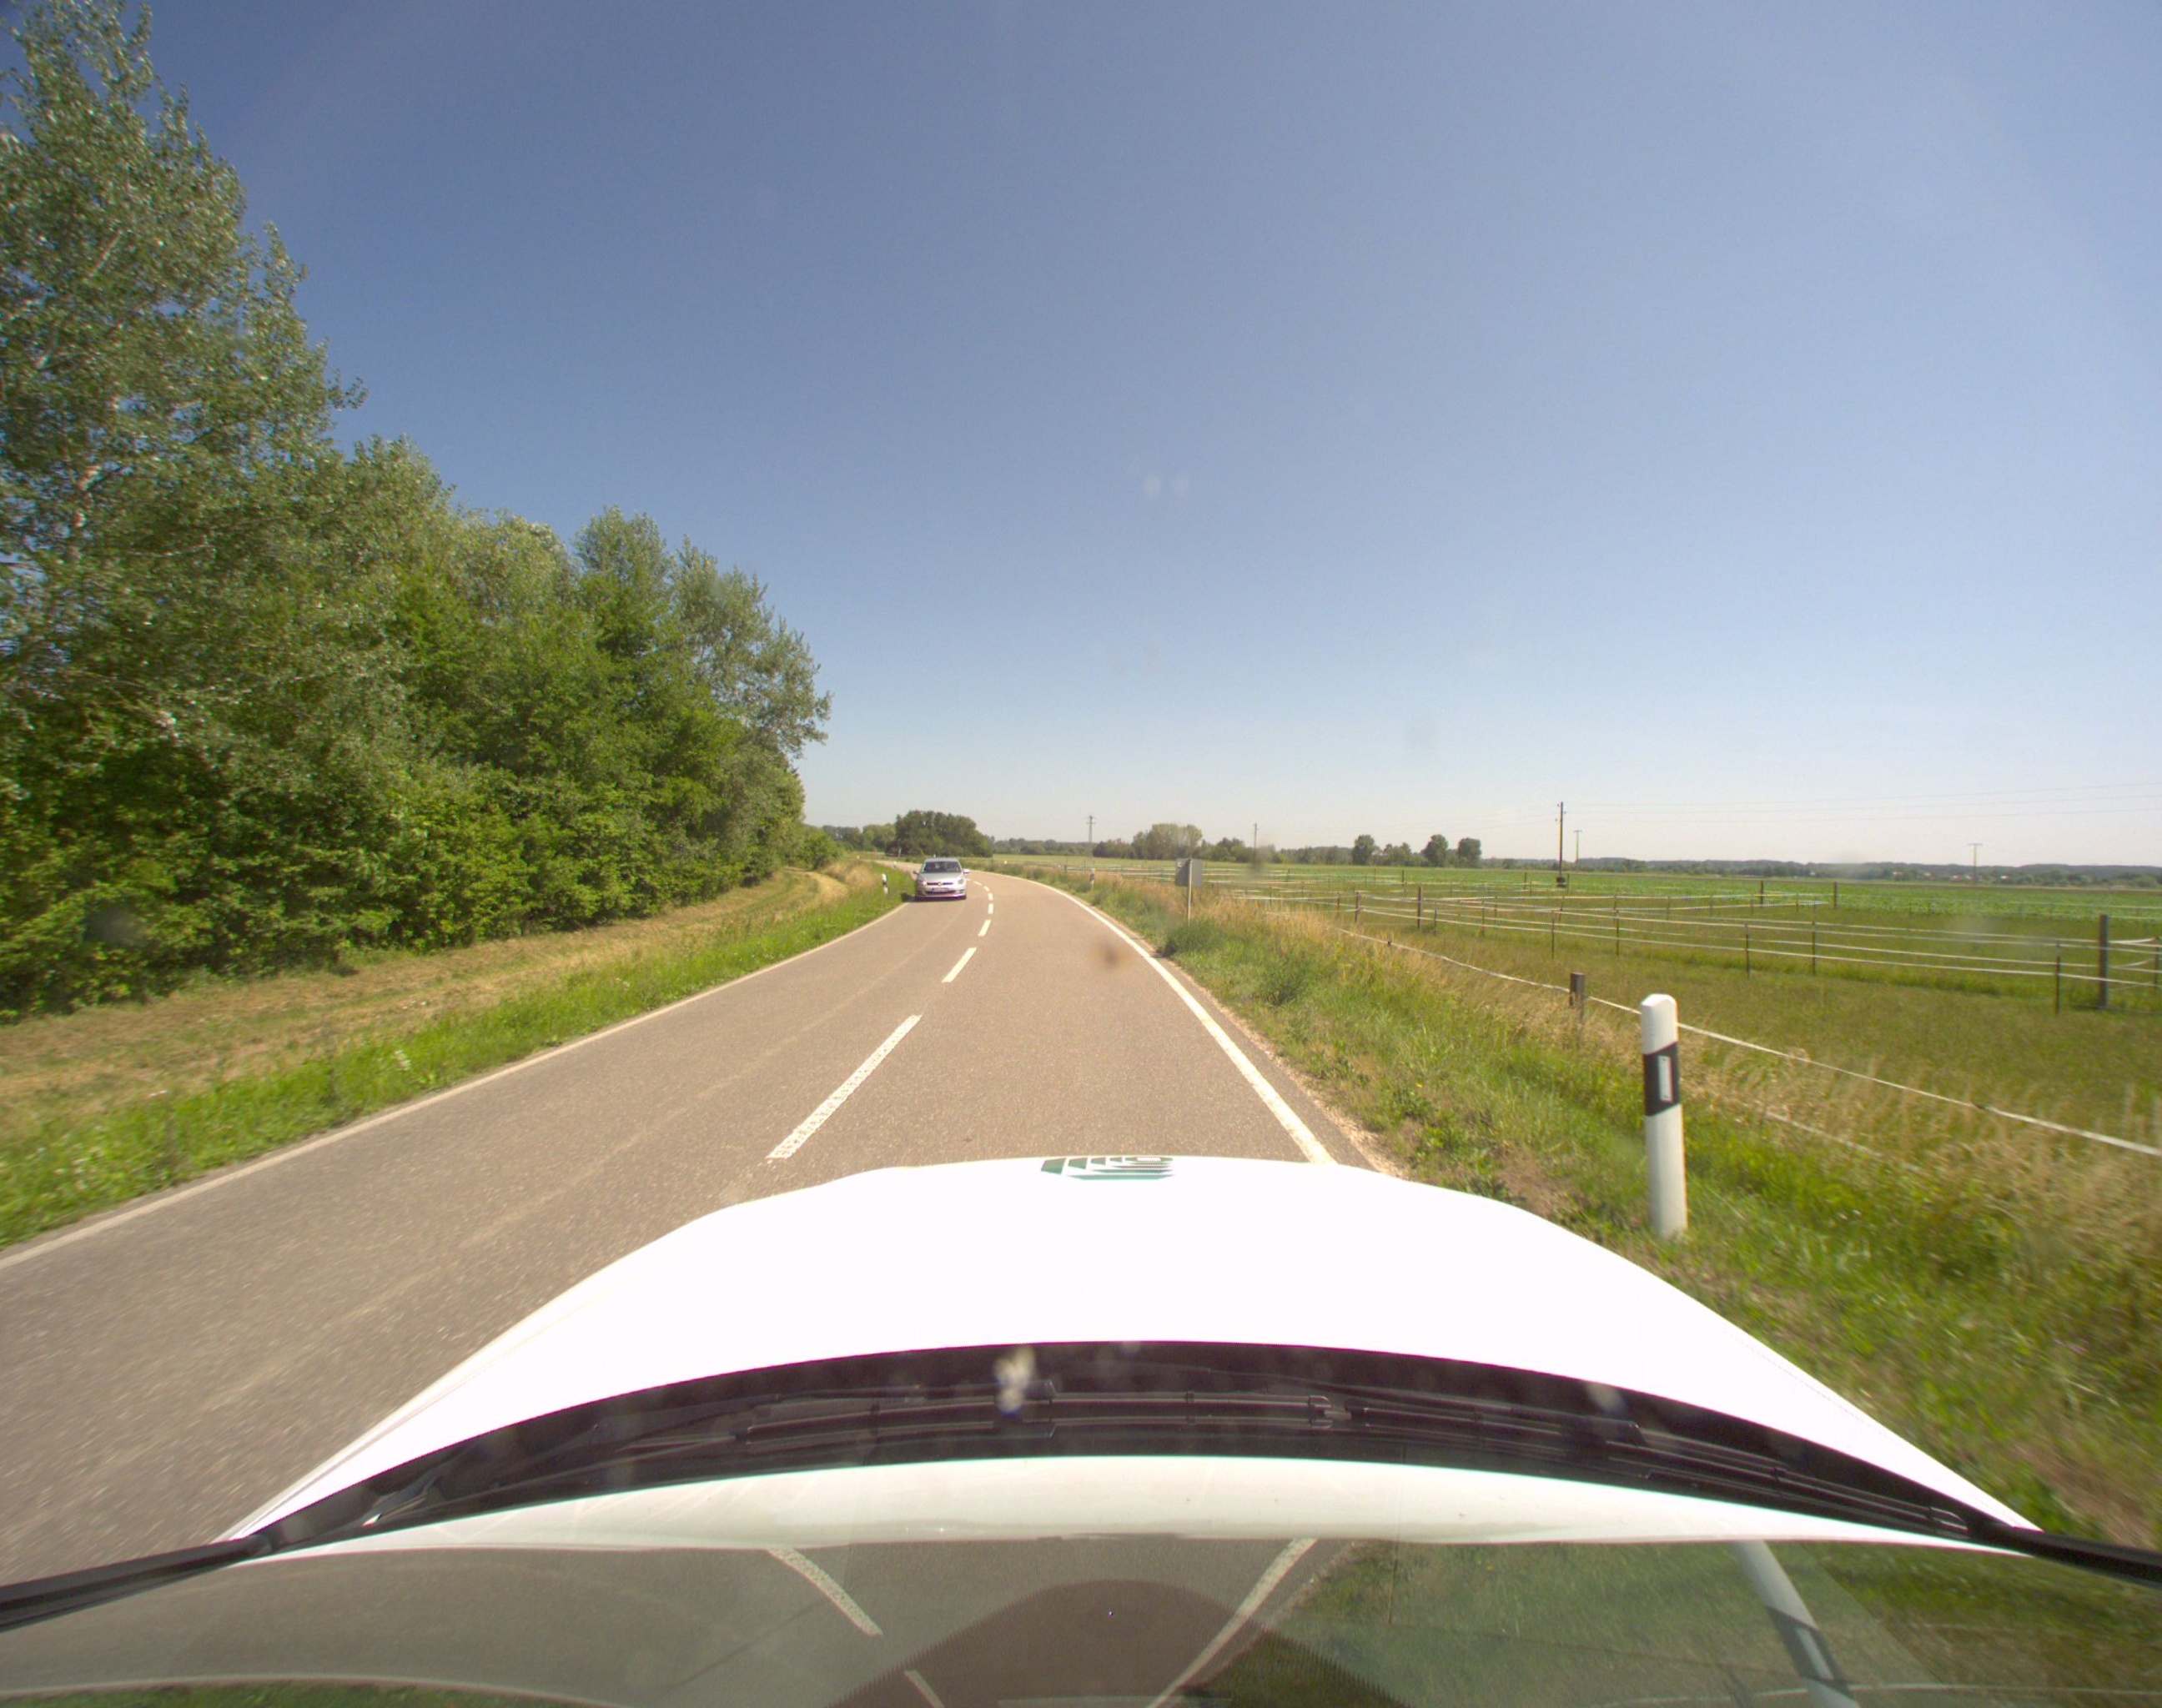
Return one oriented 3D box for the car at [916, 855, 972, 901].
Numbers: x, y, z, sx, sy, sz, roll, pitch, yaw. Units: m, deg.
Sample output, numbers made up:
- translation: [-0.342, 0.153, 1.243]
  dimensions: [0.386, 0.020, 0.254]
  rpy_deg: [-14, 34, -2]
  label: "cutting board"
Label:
- translation: [-4.868, 0.811, 29.277]
  dimensions: [1.783, 1.427, 4.048]
  rpy_deg: [-2, 0, -8]
  label: "car"
